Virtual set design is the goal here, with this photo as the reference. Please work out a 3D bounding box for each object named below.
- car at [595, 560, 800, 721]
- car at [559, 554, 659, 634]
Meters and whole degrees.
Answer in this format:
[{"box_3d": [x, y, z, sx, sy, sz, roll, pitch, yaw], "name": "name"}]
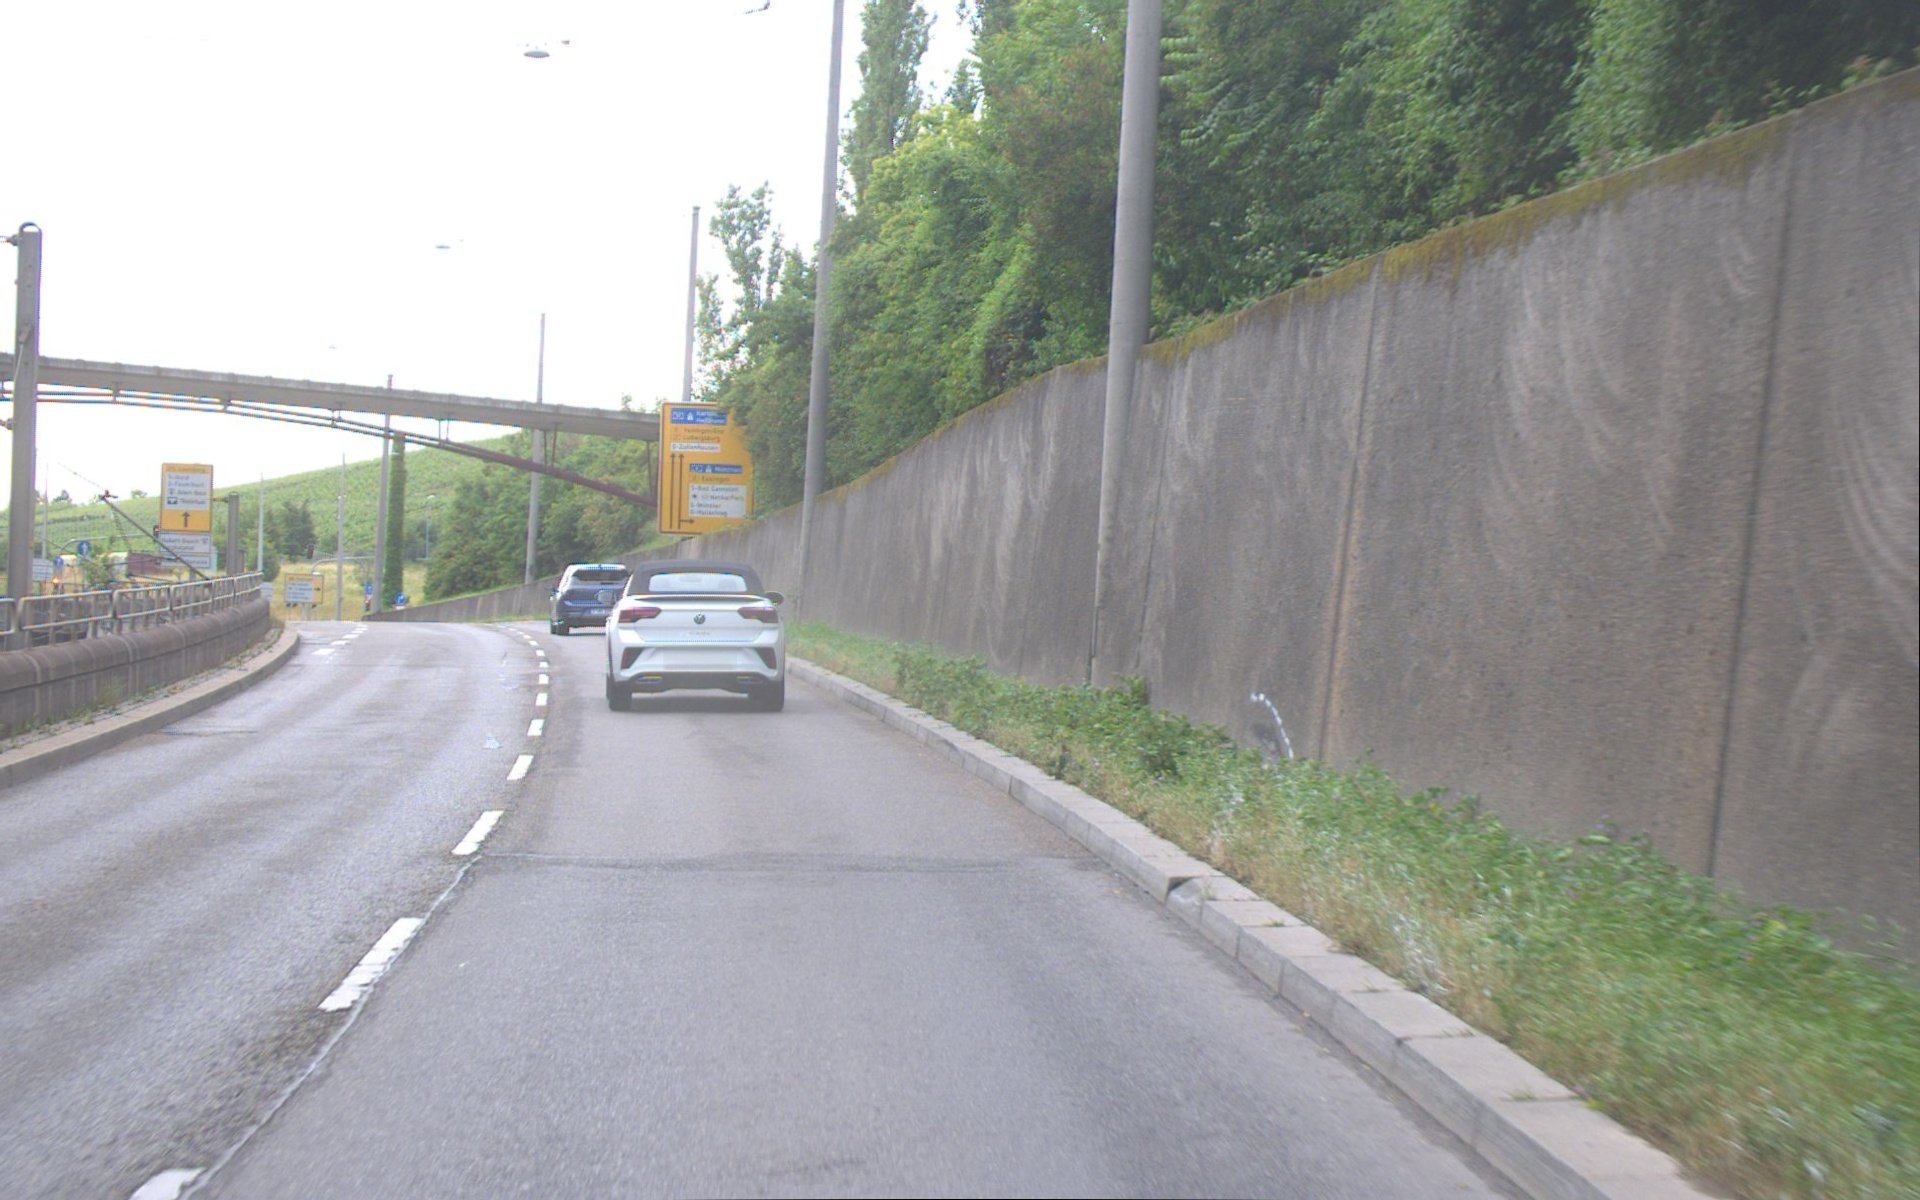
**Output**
[{"box_3d": [-2.804, 0.371, 36.018, 1.995, 1.573, 4.126, 0, 1, -6], "name": "car"}, {"box_3d": [-7.213, -0.141, 70.931, 1.926, 1.594, 4.062, 0, 1, -4], "name": "car"}]
